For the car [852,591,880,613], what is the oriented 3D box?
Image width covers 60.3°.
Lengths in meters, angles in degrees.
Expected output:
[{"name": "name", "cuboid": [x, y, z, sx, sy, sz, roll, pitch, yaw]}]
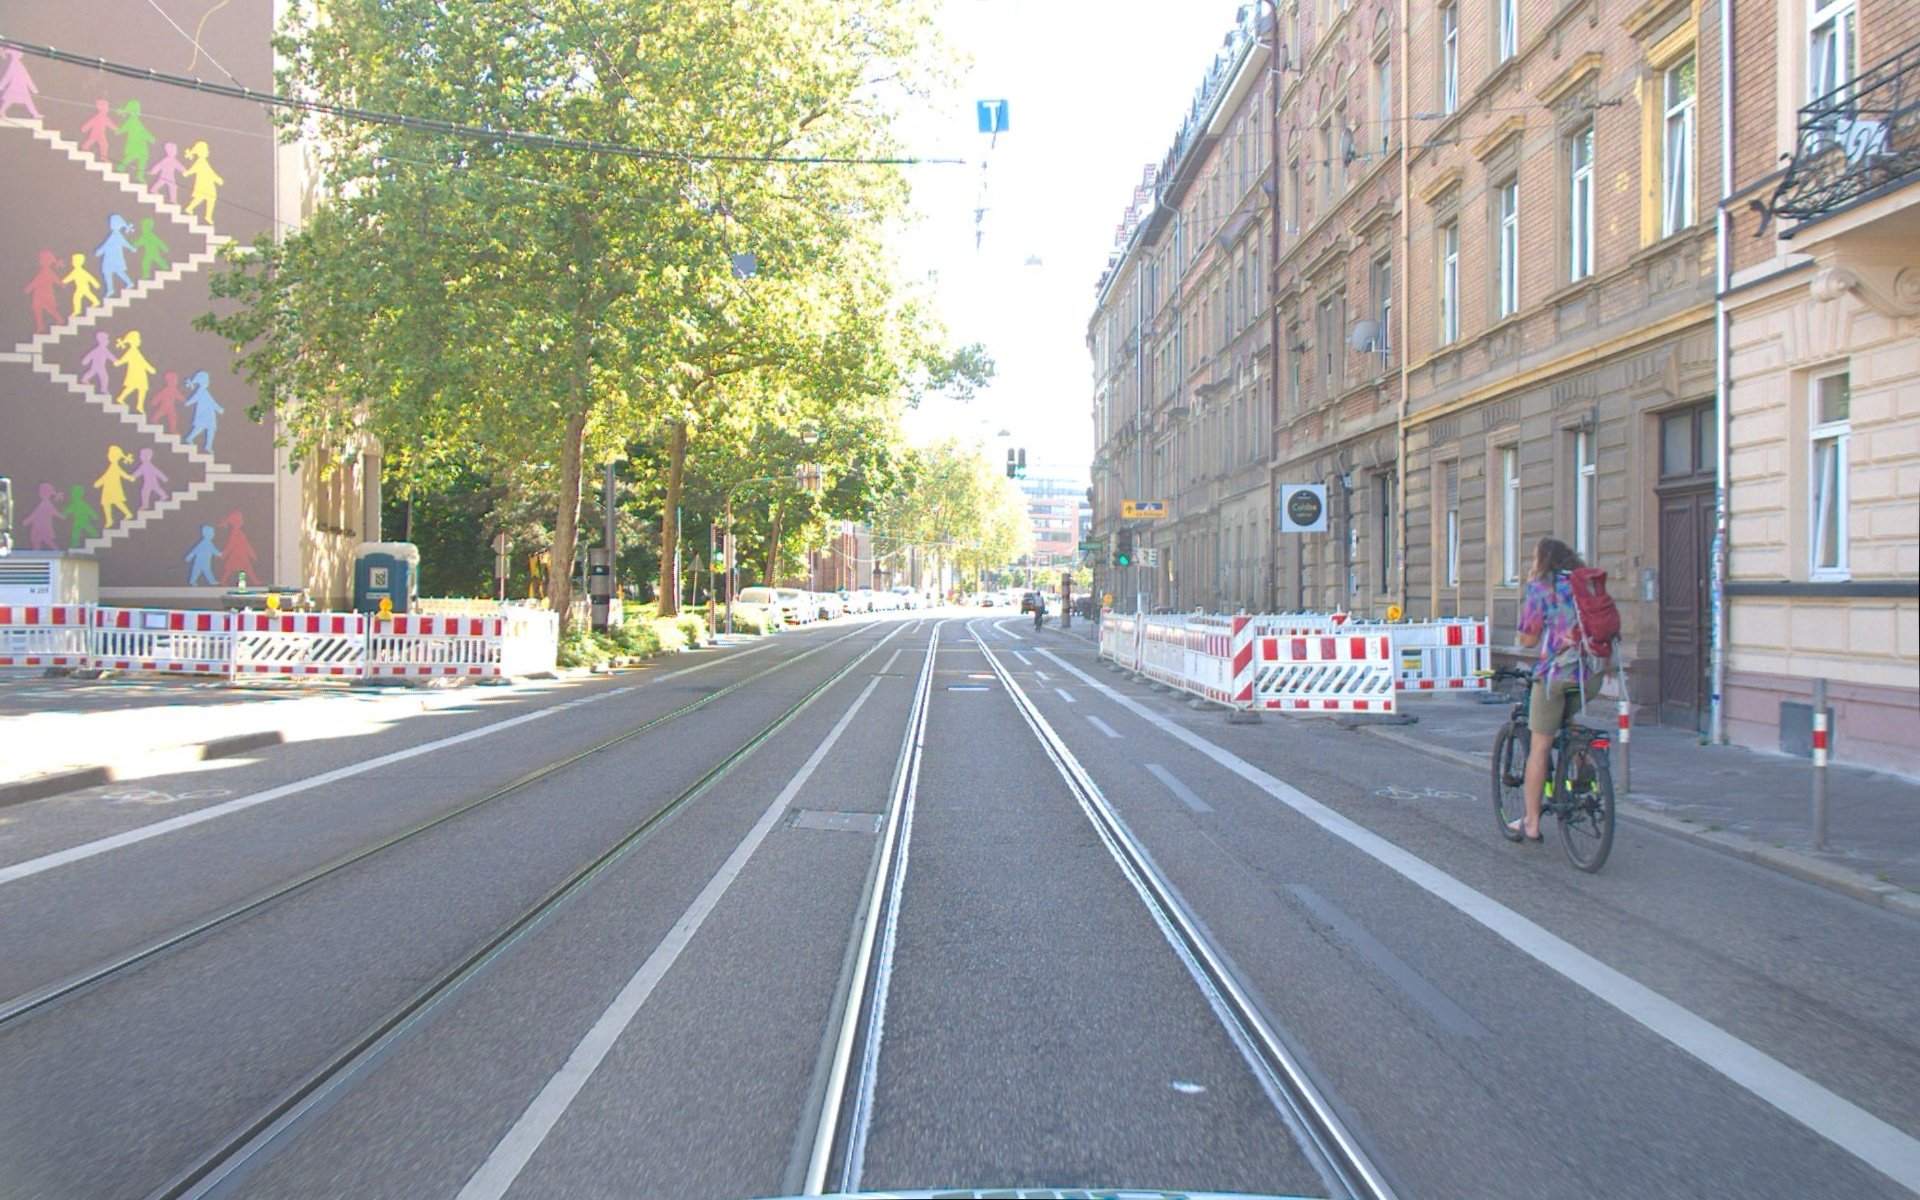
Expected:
[{"name": "car", "cuboid": [-7.185, 0.131, 126.323, 1.712, 1.614, 4.044, 2, 0, 2]}]

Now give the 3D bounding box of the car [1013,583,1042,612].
[{"name": "car", "cuboid": [4.936, -0.177, 121.604, 1.953, 2.049, 4.000, 2, 0, 0]}]

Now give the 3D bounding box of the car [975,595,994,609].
[{"name": "car", "cuboid": [2.625, 0.223, 174.706, 1.712, 1.447, 4.045, 2, 0, 4]}]

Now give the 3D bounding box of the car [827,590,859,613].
[{"name": "car", "cuboid": [-8.174, 0.102, 115.806, 1.712, 1.521, 4.044, 2, 0, 2]}]

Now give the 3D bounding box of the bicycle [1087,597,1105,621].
[{"name": "bicycle", "cuboid": [6.438, 0.423, 78.561, 0.626, 1.137, 2.297, 2, 0, 0]}]

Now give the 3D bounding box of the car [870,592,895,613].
[{"name": "car", "cuboid": [-6.379, 0.199, 136.405, 1.712, 1.614, 4.044, 2, 0, 2]}]

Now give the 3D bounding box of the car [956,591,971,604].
[{"name": "car", "cuboid": [0.525, -0.362, 228.577, 1.712, 1.653, 4.045, 2, 0, 4]}]

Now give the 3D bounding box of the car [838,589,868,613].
[{"name": "car", "cuboid": [-7.813, 0.089, 120.876, 1.712, 1.614, 4.044, 2, 0, 2]}]

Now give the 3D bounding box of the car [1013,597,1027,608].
[{"name": "car", "cuboid": [8.131, 0.360, 224.021, 1.712, 1.447, 4.045, 2, 0, 4]}]

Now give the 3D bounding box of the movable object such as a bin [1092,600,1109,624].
[{"name": "movable object such as a bin", "cuboid": [6.143, 0.523, 72.225, 0.659, 1.054, 0.813, 0, 1, 0]}]

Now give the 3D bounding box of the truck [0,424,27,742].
[{"name": "truck", "cuboid": [-9.731, -0.194, 12.081, 2.488, 2.879, 6.371, 2, 0, -4]}]

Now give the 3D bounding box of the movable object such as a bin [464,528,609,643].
[{"name": "movable object such as a bin", "cuboid": [-10.875, -0.363, 43.000, 2.445, 2.691, 5.985, 2, 0, -3]}]

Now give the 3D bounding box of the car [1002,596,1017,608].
[{"name": "car", "cuboid": [6.390, 0.263, 212.152, 1.712, 1.447, 4.045, 2, 0, 4]}]

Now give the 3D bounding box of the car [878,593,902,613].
[{"name": "car", "cuboid": [-5.966, 0.234, 141.602, 1.712, 1.614, 4.044, 2, 0, 2]}]

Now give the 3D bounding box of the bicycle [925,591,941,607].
[{"name": "bicycle", "cuboid": [-2.751, -0.072, 166.800, 1.208, 1.600, 2.899, 2, 0, 7]}]

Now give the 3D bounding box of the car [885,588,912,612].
[{"name": "car", "cuboid": [-5.457, 0.007, 146.638, 2.016, 2.088, 4.044, 2, 0, 2]}]

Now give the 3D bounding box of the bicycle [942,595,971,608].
[{"name": "bicycle", "cuboid": [-0.351, 0.189, 169.617, 2.826, 1.253, 0.885, 2, 0, 10]}]

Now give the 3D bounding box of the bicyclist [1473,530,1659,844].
[{"name": "bicyclist", "cuboid": [3.527, 0.486, 9.703, 0.653, 1.726, 1.043, 2, 0, -1]}]

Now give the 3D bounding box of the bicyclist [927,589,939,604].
[{"name": "bicyclist", "cuboid": [-2.696, -0.315, 166.760, 1.054, 1.452, 1.147, 2, 0, 8]}]

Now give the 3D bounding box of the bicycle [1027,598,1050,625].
[{"name": "bicycle", "cuboid": [3.331, 0.471, 70.447, 0.838, 1.107, 2.487, 2, 0, 0]}]

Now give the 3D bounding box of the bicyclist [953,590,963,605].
[{"name": "bicyclist", "cuboid": [-0.232, -0.275, 169.593, 0.880, 1.452, 1.054, 2, 0, 8]}]

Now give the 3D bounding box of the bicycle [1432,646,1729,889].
[{"name": "bicycle", "cuboid": [3.518, 0.883, 9.704, 0.667, 1.134, 2.706, 2, 0, -1]}]

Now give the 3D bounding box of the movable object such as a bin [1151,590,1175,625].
[{"name": "movable object such as a bin", "cuboid": [6.626, 0.240, 54.052, 0.607, 1.129, 0.780, 2, 0, -3]}]

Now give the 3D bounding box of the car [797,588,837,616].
[{"name": "car", "cuboid": [-8.002, 0.119, 92.862, 1.712, 1.536, 4.044, 2, 0, 2]}]

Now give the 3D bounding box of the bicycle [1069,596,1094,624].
[{"name": "bicycle", "cuboid": [6.864, 0.556, 93.286, 0.950, 1.541, 3.249, 2, 0, 11]}]

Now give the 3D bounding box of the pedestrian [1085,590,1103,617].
[{"name": "pedestrian", "cuboid": [9.254, 0.232, 114.214, 1.033, 1.791, 1.332, 2, 0, 0]}]

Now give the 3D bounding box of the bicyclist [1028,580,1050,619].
[{"name": "bicyclist", "cuboid": [3.352, -0.019, 70.439, 0.821, 1.585, 0.965, 2, 0, -1]}]

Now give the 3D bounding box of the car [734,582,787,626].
[{"name": "car", "cuboid": [-8.052, 0.176, 66.953, 1.513, 1.687, 3.763, 2, 0, 2]}]

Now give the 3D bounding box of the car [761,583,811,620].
[{"name": "car", "cuboid": [-8.088, 0.086, 77.275, 1.712, 1.636, 4.044, 2, 0, 2]}]
